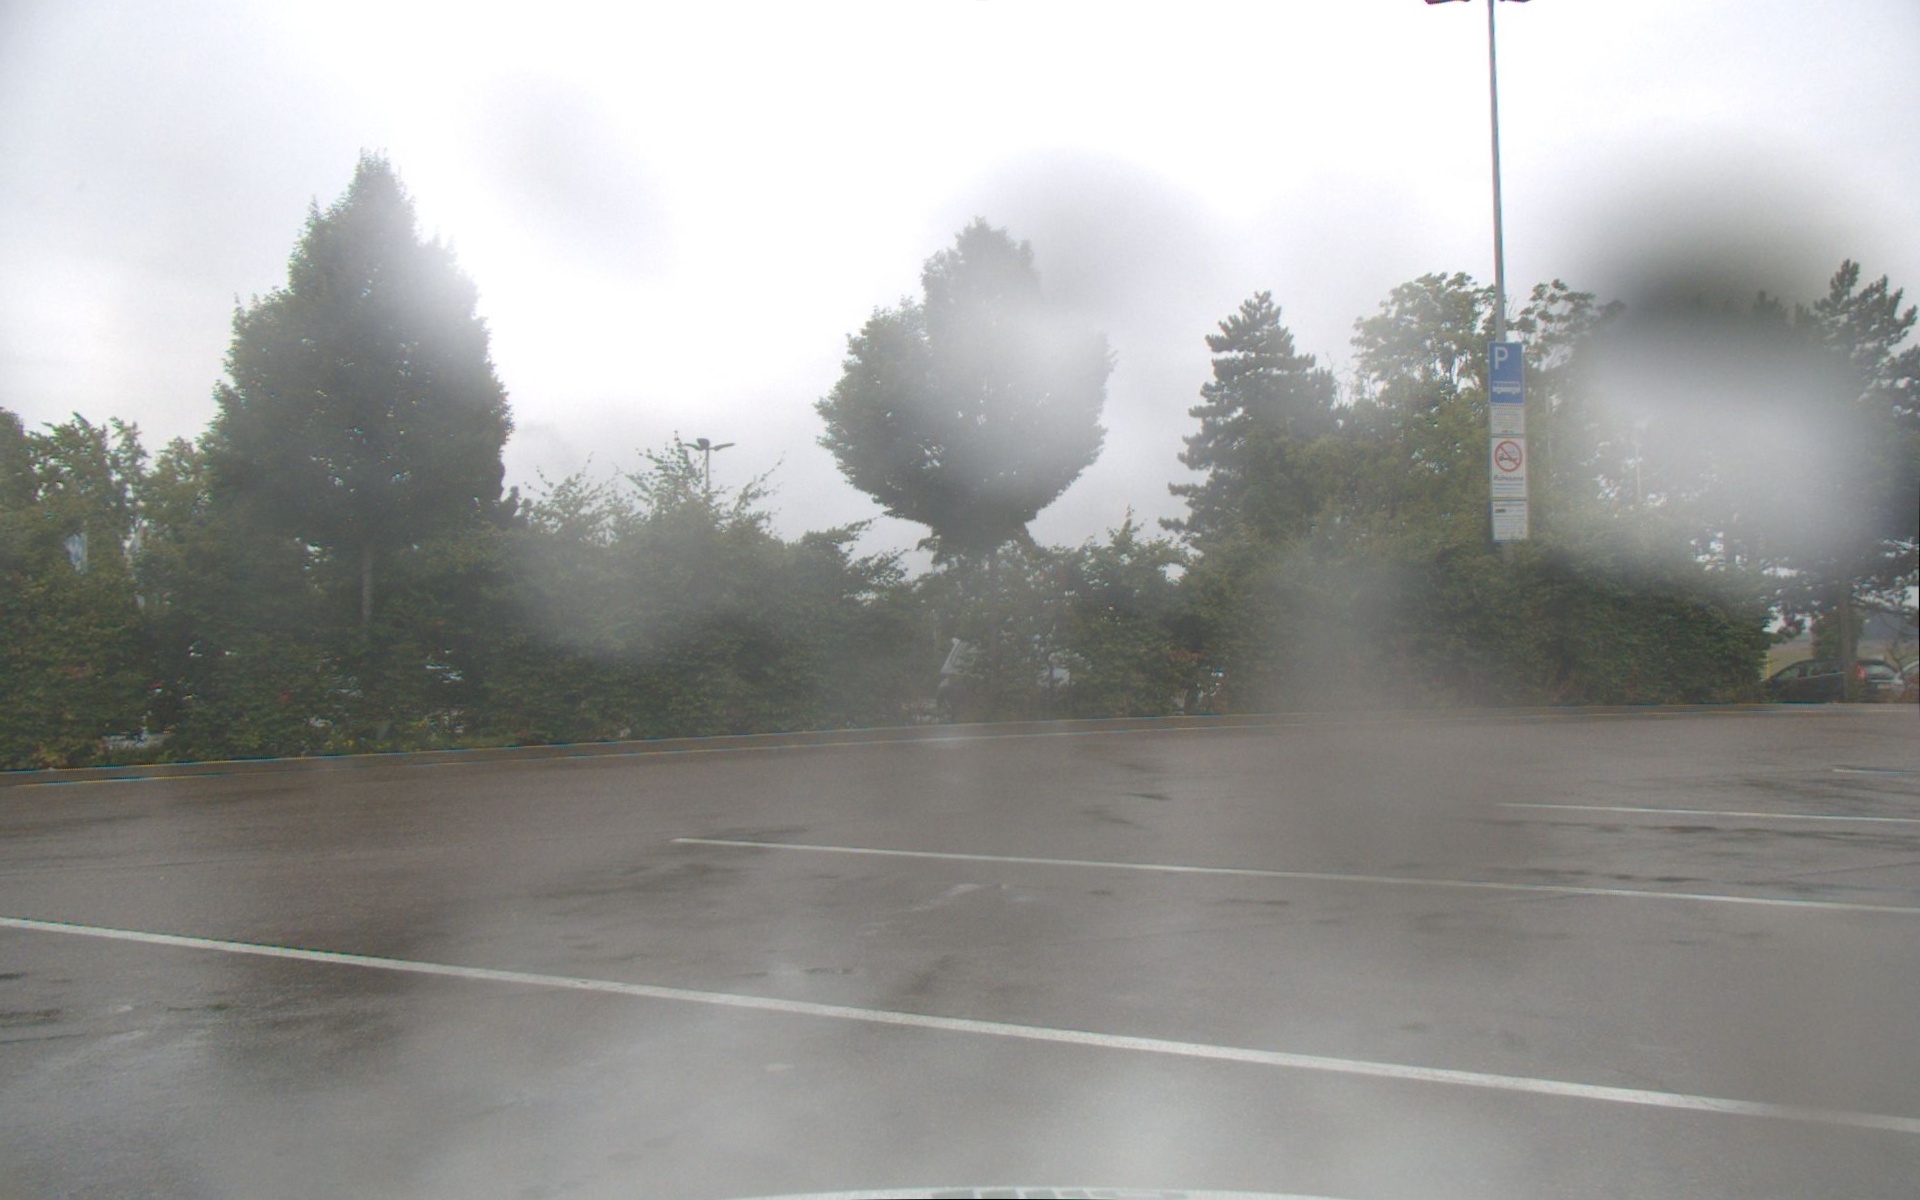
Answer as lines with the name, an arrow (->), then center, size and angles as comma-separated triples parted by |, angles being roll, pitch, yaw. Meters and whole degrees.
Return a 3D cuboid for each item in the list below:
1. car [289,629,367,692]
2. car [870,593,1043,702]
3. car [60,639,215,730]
car -> -18.686, 1.763, 49.045 | 1.765, 1.722, 4.030 | -2, -1, -16
car -> -0.143, 0.787, 28.053 | 1.753, 1.657, 4.073 | -2, -1, -18
car -> -15.266, 1.516, 30.945 | 1.850, 1.498, 4.744 | -2, -1, -18
